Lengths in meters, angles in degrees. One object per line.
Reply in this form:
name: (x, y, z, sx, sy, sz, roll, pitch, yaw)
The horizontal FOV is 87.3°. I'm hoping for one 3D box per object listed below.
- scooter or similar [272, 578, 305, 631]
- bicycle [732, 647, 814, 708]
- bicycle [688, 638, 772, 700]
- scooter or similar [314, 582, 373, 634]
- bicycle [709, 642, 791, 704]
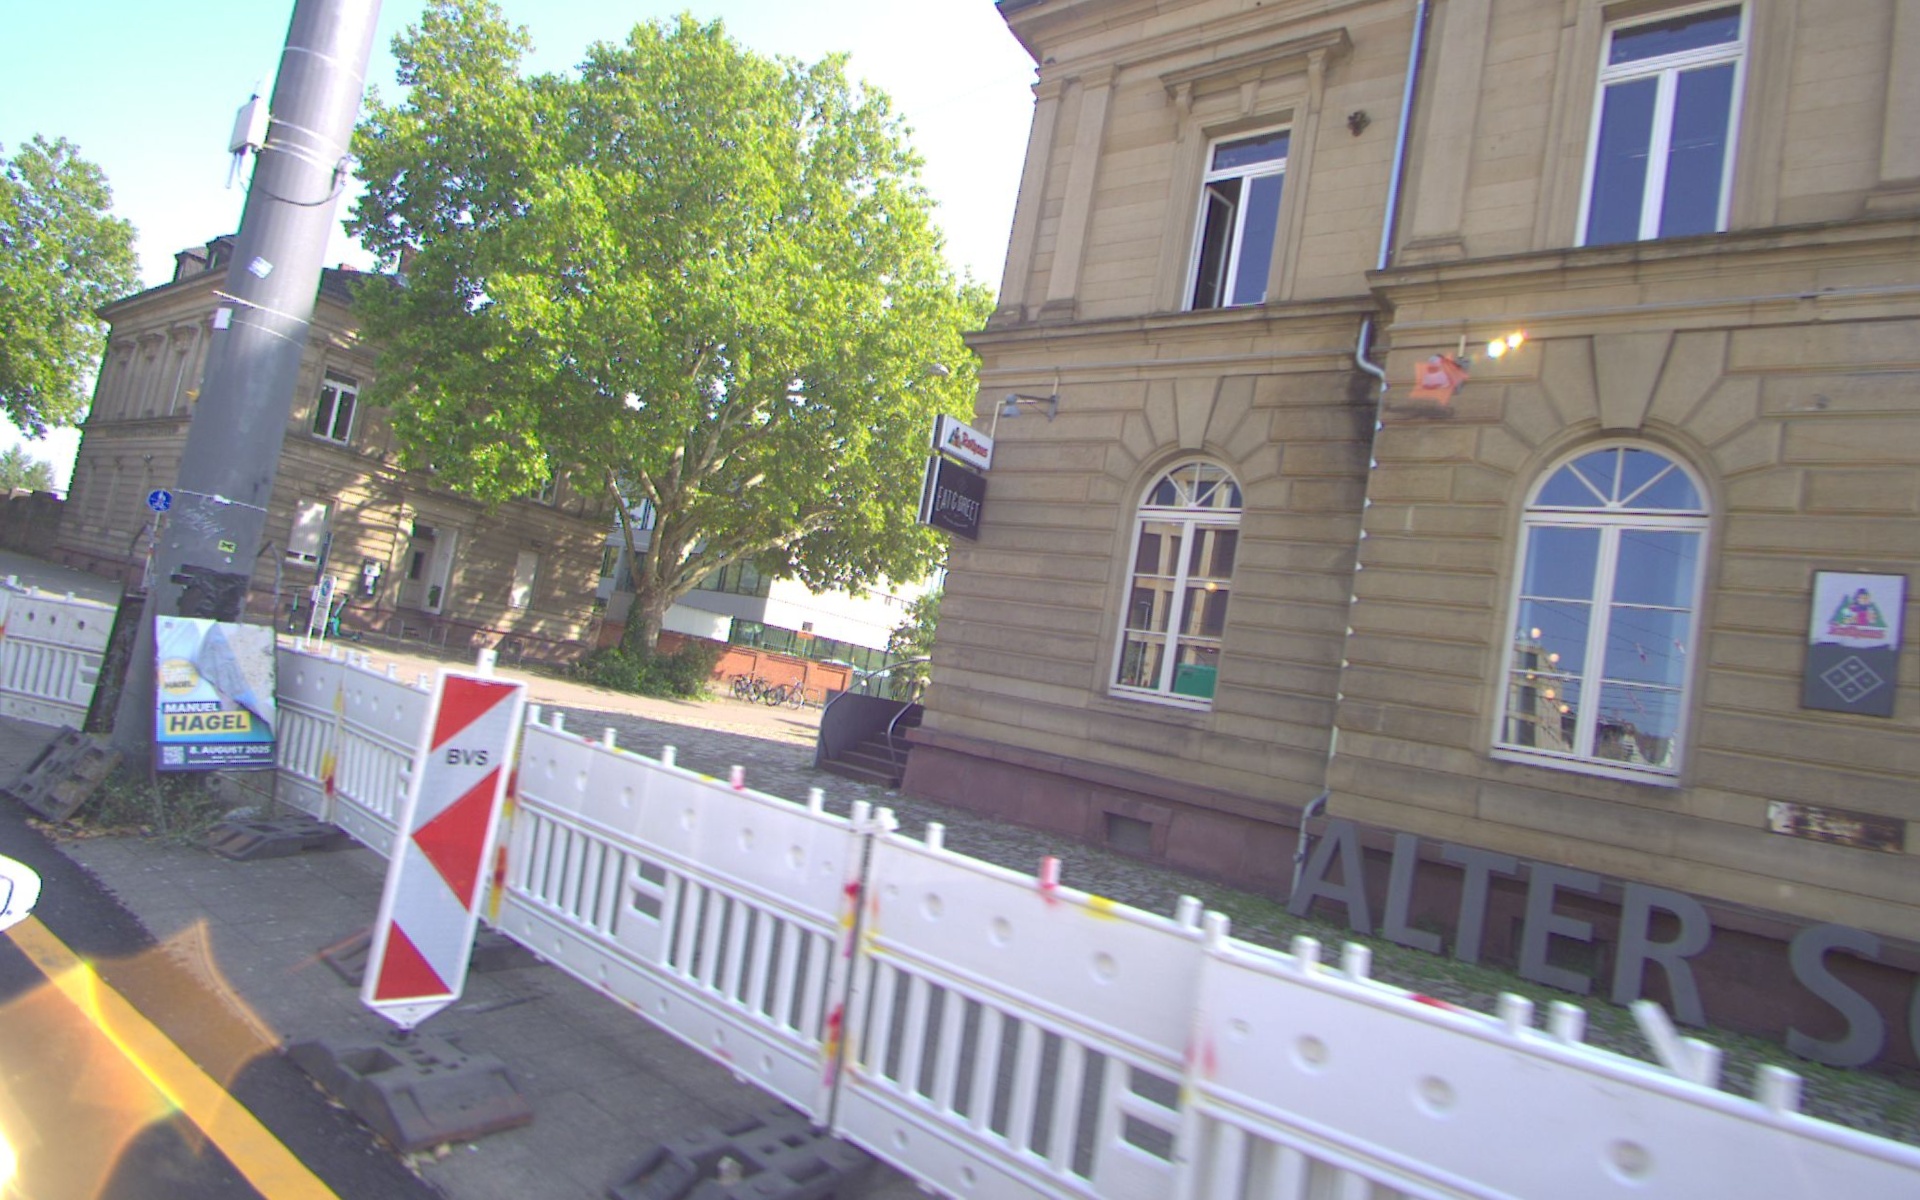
scooter or similar: (-17.286, 0.097, 25.917, 0.419, 1.222, 1.245, 12, -3, -30)
bicycle: (-7.340, 3.011, 39.370, 3.234, 1.820, 0.849, 7, -5, 36)
bicycle: (-8.665, 2.574, 37.813, 3.234, 1.820, 0.849, 7, -5, 36)
scooter or similar: (-16.783, 0.234, 27.406, 0.415, 1.222, 1.258, 11, -3, 12)
bicycle: (-8.079, 2.779, 38.570, 3.234, 1.820, 0.849, 7, -5, 36)
